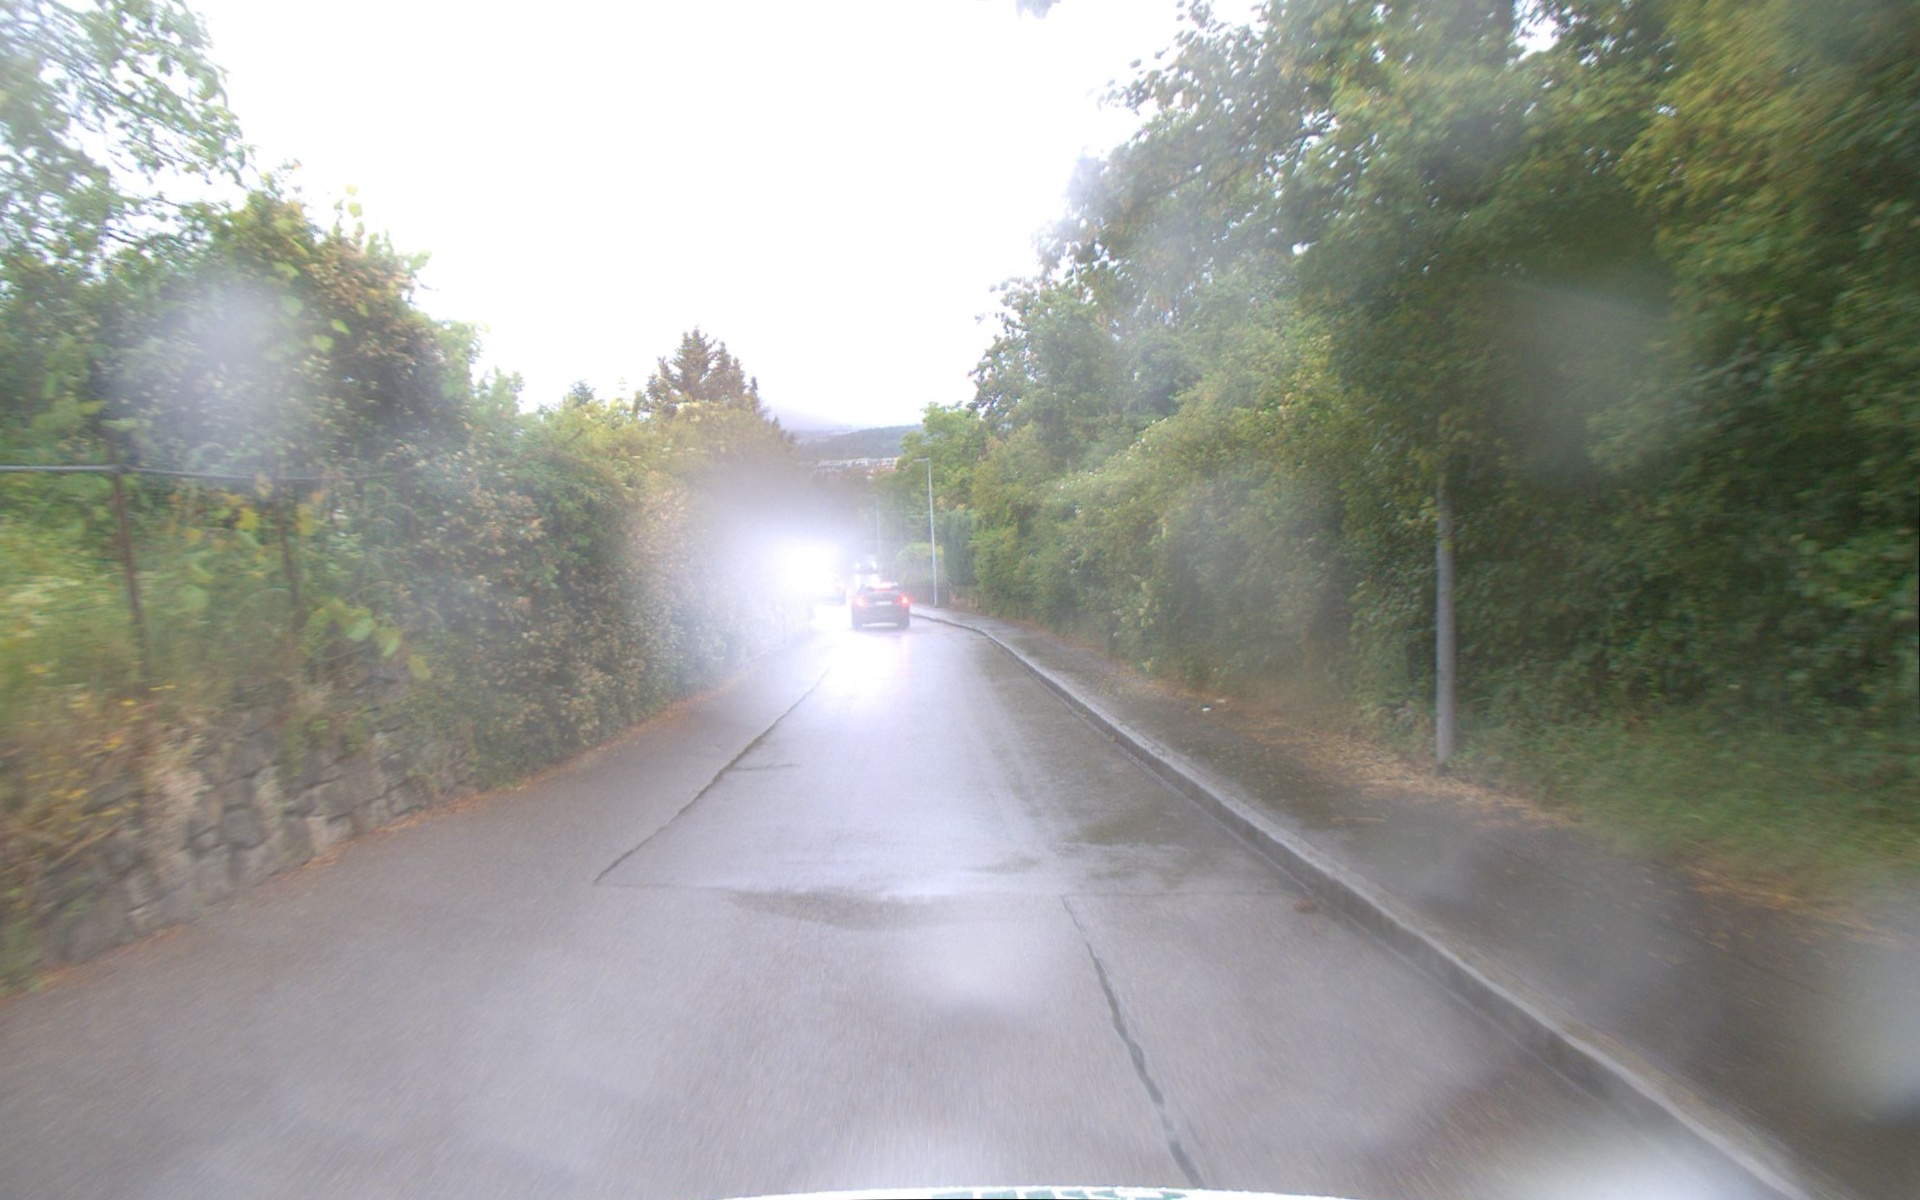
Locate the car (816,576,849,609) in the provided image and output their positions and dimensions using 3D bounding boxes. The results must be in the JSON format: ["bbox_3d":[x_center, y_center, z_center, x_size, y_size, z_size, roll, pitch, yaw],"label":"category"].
[{"bbox_3d":[-6.821,-0.418,88.954,1.644,1.592,3.793,-1,2,-3],"label":"car"}]

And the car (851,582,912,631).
[{"bbox_3d":[-2.561,0.189,53.171,1.799,1.489,3.996,0,0,-5],"label":"car"}]
